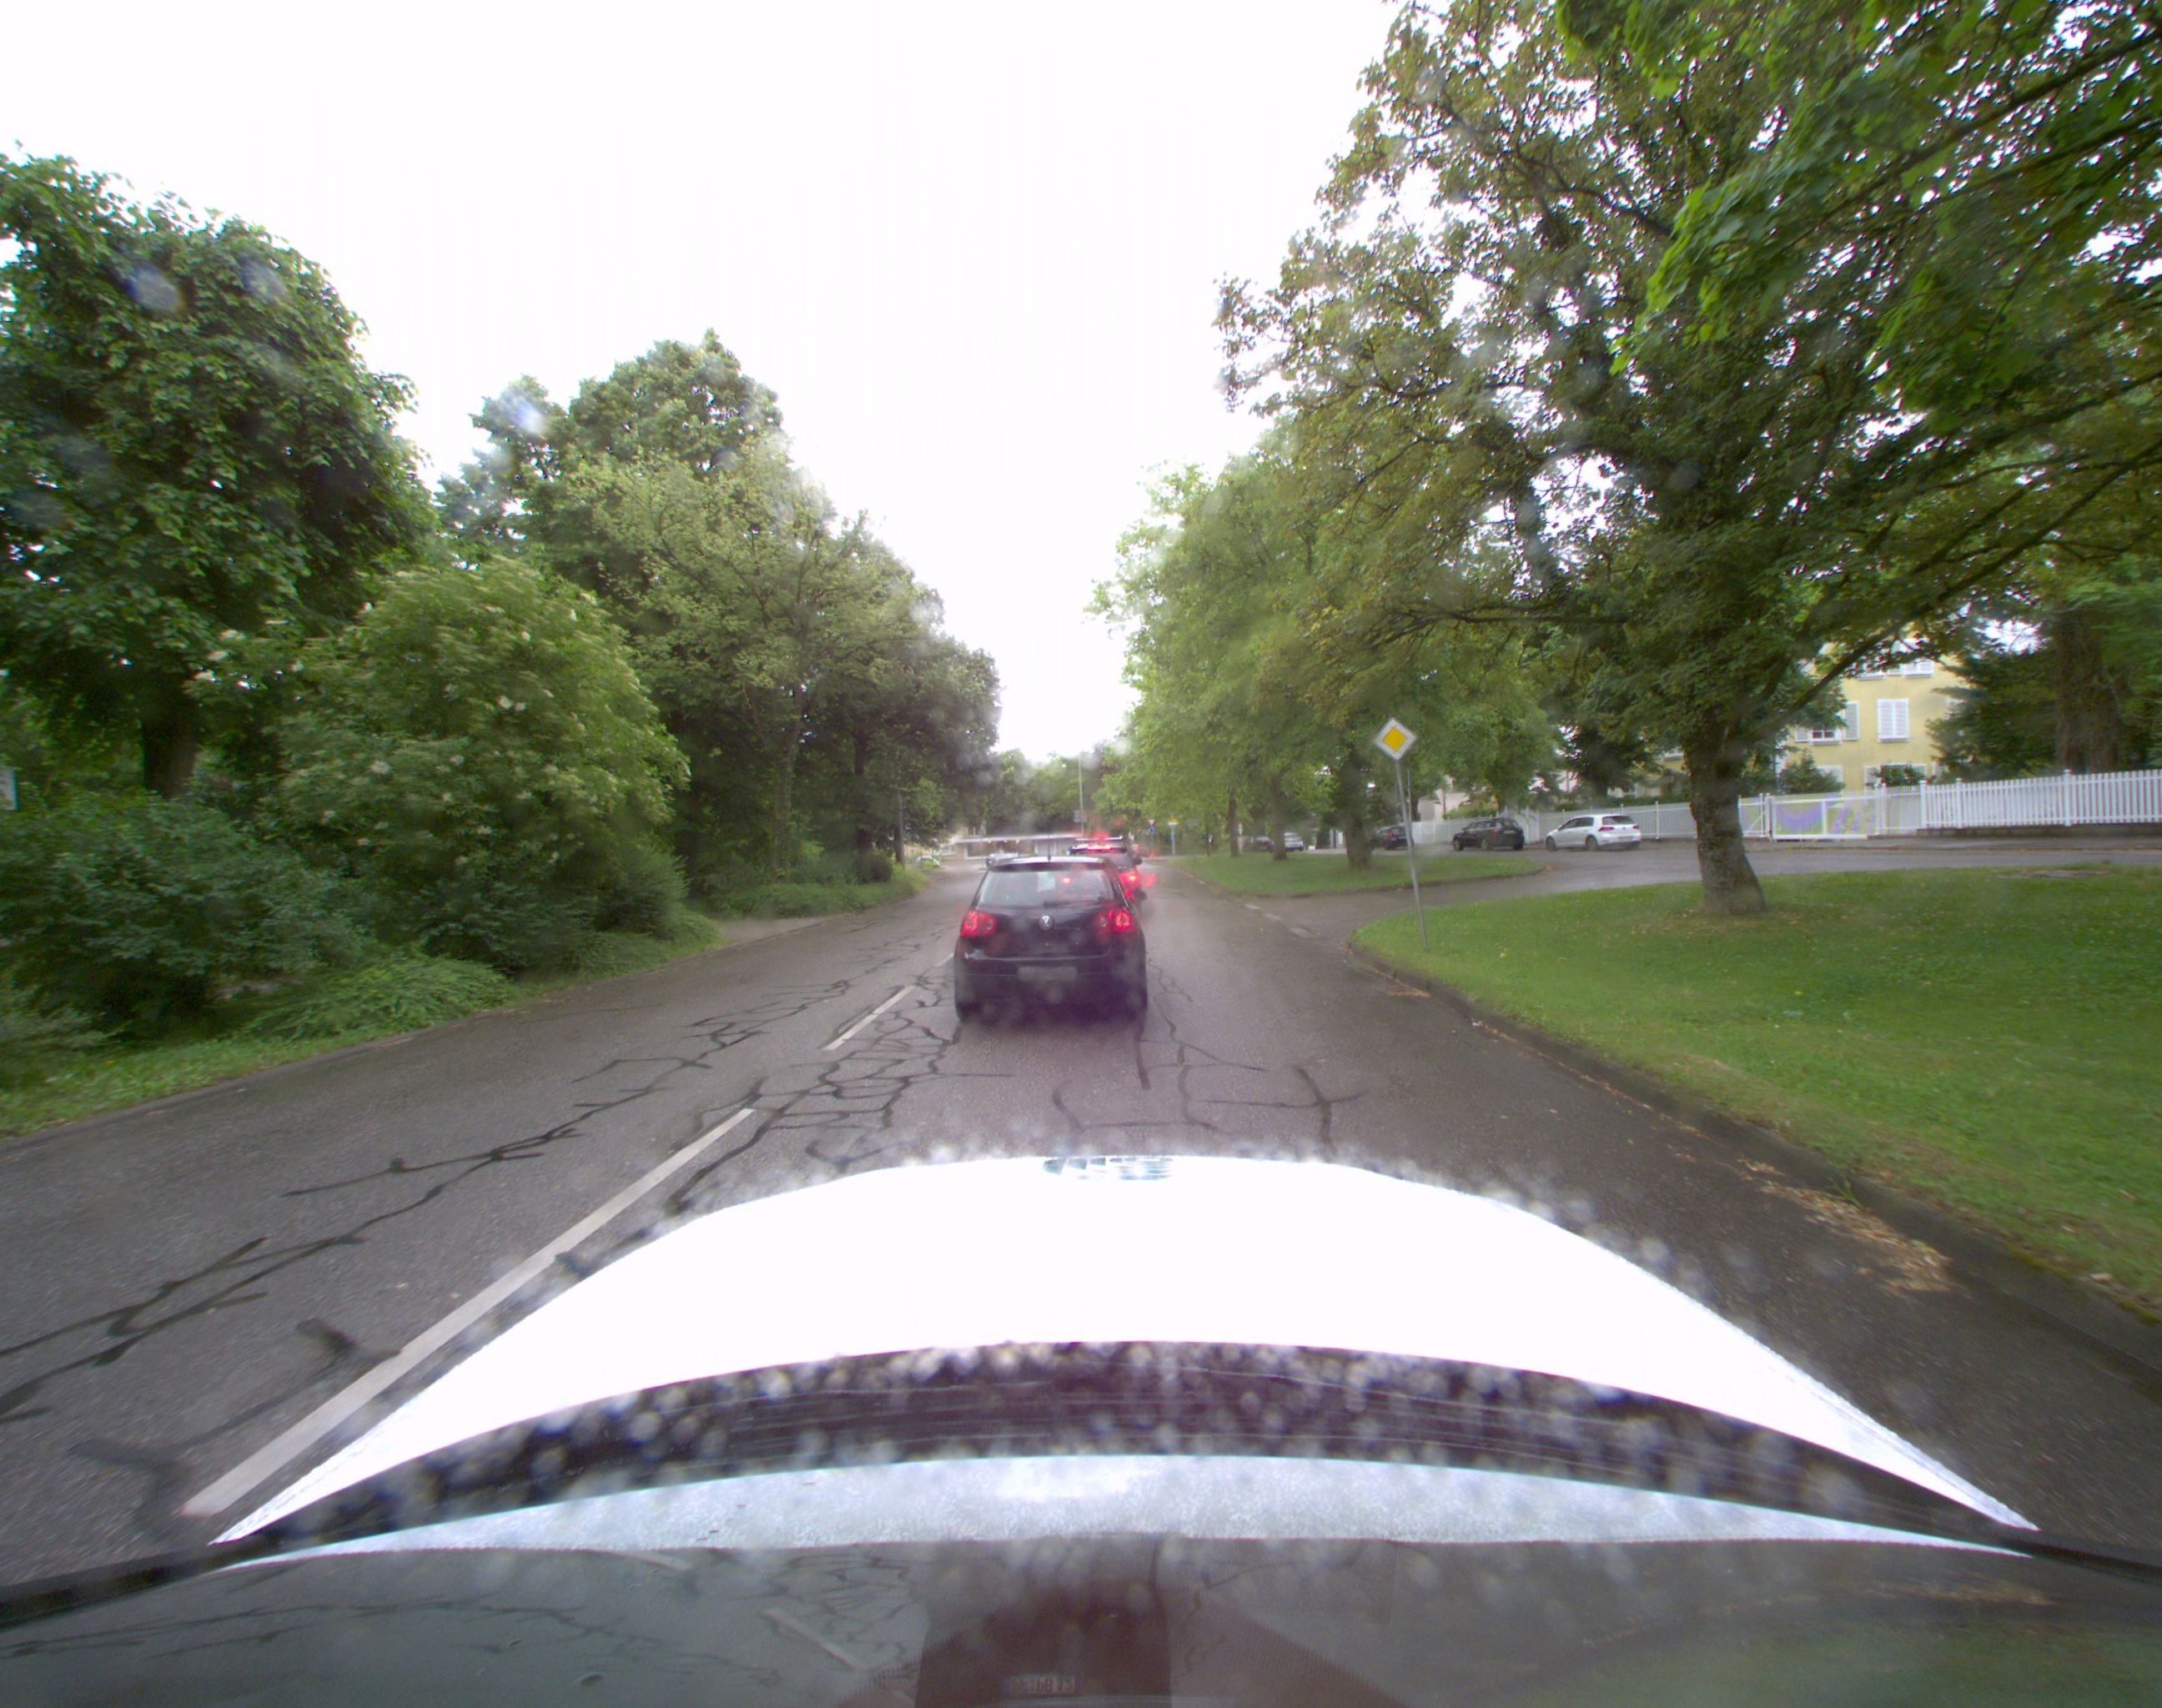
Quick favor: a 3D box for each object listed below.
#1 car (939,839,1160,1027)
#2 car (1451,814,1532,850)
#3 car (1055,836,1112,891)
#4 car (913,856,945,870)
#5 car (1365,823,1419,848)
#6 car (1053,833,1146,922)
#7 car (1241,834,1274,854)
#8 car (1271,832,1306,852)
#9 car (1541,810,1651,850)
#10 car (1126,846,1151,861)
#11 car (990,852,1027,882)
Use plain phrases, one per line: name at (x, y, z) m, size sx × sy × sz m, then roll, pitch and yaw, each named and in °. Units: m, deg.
car at (-0.180, 0.658, 8.604) m, size 1.791 × 1.515 × 3.756 m, roll -1°, pitch 0°, yaw 2°
car at (19.886, -1.053, 39.657) m, size 1.796 × 1.529 × 4.112 m, roll -4°, pitch 1°, yaw 0°
car at (0.169, 0.331, 29.757) m, size 1.848 × 1.784 × 4.002 m, roll -3°, pitch 0°, yaw 2°
car at (-15.433, 0.907, 82.933) m, size 3.120 × 1.310 × 1.535 m, roll -3°, pitch 0°, yaw -10°
car at (19.755, -1.185, 51.850) m, size 1.796 × 1.411 × 4.112 m, roll -4°, pitch 1°, yaw 0°
car at (0.477, 0.468, 18.935) m, size 1.848 × 1.784 × 4.003 m, roll -3°, pitch 0°, yaw 2°
car at (13.970, -0.777, 64.689) m, size 1.796 × 1.385 × 4.002 m, roll -4°, pitch 1°, yaw 2°
car at (16.452, -0.991, 64.694) m, size 1.796 × 1.406 × 4.002 m, roll -4°, pitch 1°, yaw 2°
car at (20.205, -0.925, 32.158) m, size 1.612 × 1.409 × 4.006 m, roll -4°, pitch 1°, yaw -3°
car at (6.685, -0.050, 95.214) m, size 1.710 × 1.513 × 3.652 m, roll -3°, pitch 0°, yaw -17°
car at (-3.929, 0.679, 44.604) m, size 1.603 × 1.427 × 4.007 m, roll -3°, pitch 1°, yaw -1°
